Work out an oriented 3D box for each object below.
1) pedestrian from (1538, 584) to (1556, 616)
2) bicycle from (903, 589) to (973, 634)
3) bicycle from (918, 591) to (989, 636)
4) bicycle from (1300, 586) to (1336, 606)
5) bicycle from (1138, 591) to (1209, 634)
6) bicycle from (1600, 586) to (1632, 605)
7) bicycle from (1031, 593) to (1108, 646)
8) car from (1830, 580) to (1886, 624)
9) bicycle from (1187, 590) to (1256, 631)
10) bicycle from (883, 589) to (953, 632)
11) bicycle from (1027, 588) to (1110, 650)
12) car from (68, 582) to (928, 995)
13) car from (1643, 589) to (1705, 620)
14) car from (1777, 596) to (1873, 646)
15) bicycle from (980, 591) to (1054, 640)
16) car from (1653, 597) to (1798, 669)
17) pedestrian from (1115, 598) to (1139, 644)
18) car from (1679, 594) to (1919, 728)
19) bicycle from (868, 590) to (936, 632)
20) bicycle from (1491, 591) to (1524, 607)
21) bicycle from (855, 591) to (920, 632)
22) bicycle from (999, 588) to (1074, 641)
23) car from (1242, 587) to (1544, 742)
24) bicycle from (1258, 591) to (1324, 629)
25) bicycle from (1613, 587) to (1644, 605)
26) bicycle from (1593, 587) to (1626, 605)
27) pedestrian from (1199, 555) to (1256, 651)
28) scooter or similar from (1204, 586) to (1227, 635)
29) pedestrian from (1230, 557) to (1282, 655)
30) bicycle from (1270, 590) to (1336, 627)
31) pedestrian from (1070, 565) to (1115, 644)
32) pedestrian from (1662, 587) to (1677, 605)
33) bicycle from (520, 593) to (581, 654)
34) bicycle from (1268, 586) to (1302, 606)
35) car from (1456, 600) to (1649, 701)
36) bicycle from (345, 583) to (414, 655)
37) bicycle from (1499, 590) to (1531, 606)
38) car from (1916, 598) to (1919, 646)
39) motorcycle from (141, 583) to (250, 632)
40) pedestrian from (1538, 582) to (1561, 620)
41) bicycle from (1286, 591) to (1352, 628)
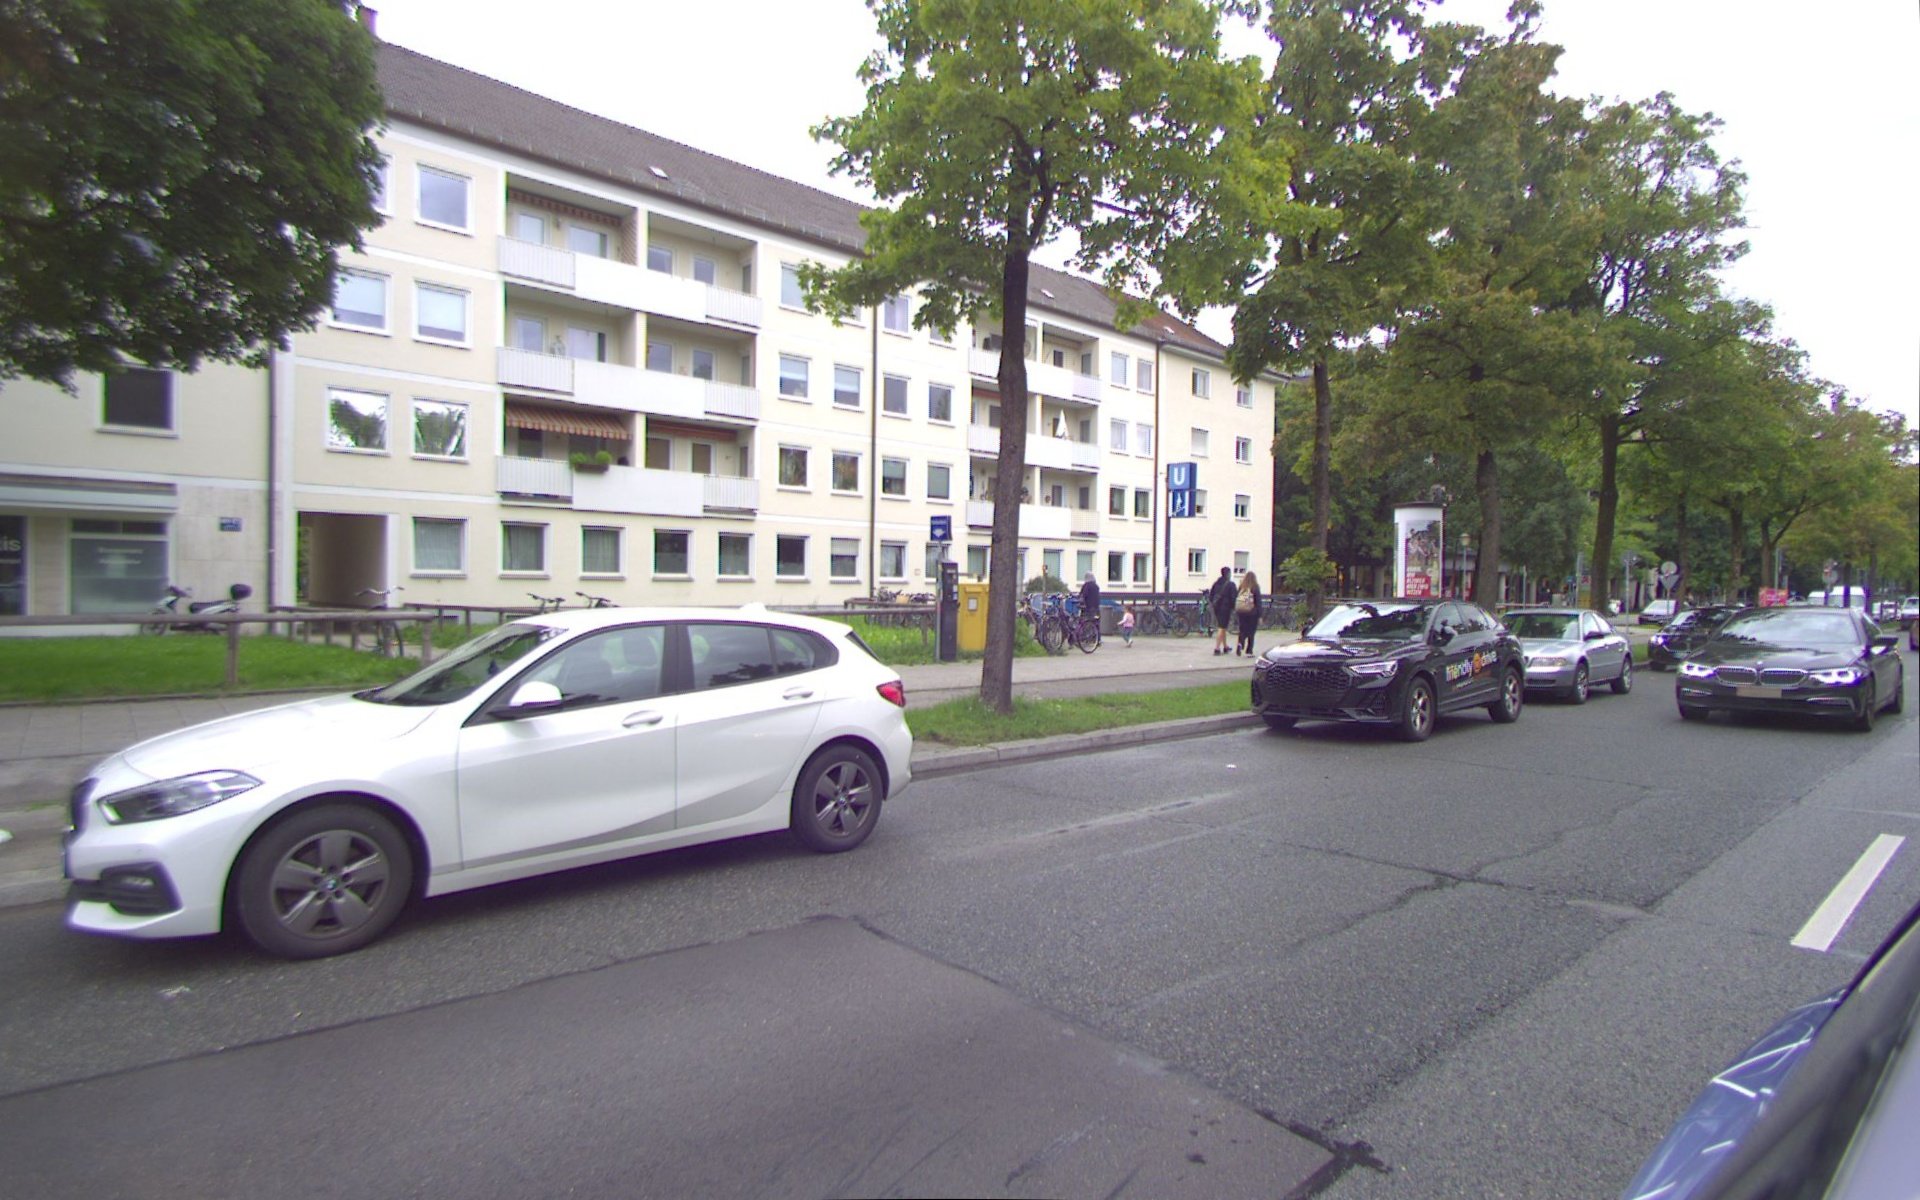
[{"bbox_3d":[33.108,0.002,57.062,0.628,1.752,0.602,0,0,-22],"label":"pedestrian"},{"bbox_3d":[-0.522,0.273,24.782,1.850,1.041,0.432,0,1,-41],"label":"bicycle"},{"bbox_3d":[-0.141,0.328,24.462,1.850,1.041,0.432,0,1,-41],"label":"bicycle"},{"bbox_3d":[18.406,-0.210,52.085,0.448,0.983,1.692,1,1,-44],"label":"bicycle"},{"bbox_3d":[5.530,0.304,26.309,0.425,1.041,1.879,0,2,-44],"label":"bicycle"},{"bbox_3d":[58.738,-0.426,90.653,0.638,1.643,2.312,1,1,-41],"label":"bicycle"},{"bbox_3d":[2.287,0.399,20.977,1.850,1.041,0.432,0,1,-41],"label":"bicycle"},{"bbox_3d":[57.464,0.132,64.713,5.902,2.691,1.976,0,-1,-42],"label":"car"},{"bbox_3d":[7.218,0.284,27.982,0.425,1.041,1.879,0,2,-44],"label":"bicycle"},{"bbox_3d":[-1.034,0.257,25.291,1.850,1.041,0.432,0,1,-41],"label":"bicycle"},{"bbox_3d":[2.126,0.362,19.616,1.850,1.147,0.432,1,1,-41],"label":"bicycle"},{"bbox_3d":[-2.268,0.691,5.655,4.066,1.484,1.684,0,-1,-42],"label":"car"},{"bbox_3d":[40.373,0.258,57.184,4.122,1.654,1.826,0,2,-39],"label":"car"},{"bbox_3d":[27.355,0.636,31.974,4.042,1.484,1.685,0,0,-40],"label":"car"},{"bbox_3d":[1.301,0.341,22.678,1.850,1.041,0.432,0,1,-41],"label":"bicycle"},{"bbox_3d":[17.247,0.676,22.742,4.102,1.484,1.754,0,0,-40],"label":"car"},{"bbox_3d":[3.650,0.451,22.115,0.404,0.961,0.432,1,1,22],"label":"pedestrian"},{"bbox_3d":[11.176,0.677,13.287,4.586,1.461,1.798,0,-1,-41],"label":"car"},{"bbox_3d":[-1.477,0.283,26.140,1.850,1.041,0.432,0,1,-41],"label":"bicycle"},{"bbox_3d":[39.983,-0.095,73.880,0.447,1.134,2.079,1,1,-41],"label":"bicycle"},{"bbox_3d":[-1.940,0.306,27.271,1.850,1.041,0.432,0,1,-41],"label":"bicycle"},{"bbox_3d":[1.687,0.307,22.080,1.850,1.115,0.432,0,1,-41],"label":"bicycle"},{"bbox_3d":[5.317,0.647,12.166,4.201,1.552,1.719,0,0,-41],"label":"car"},{"bbox_3d":[9.905,0.274,30.363,0.425,1.041,1.879,0,2,-44],"label":"bicycle"},{"bbox_3d":[62.051,-0.360,93.966,2.298,1.643,0.642,1,1,33],"label":"bicycle"},{"bbox_3d":[57.279,-0.366,89.276,0.638,1.551,2.312,1,1,-41],"label":"bicycle"},{"bbox_3d":[5.475,0.052,20.715,0.904,1.913,0.730,0,2,-42],"label":"pedestrian"},{"bbox_3d":[6.669,0.258,26.426,0.352,1.215,1.388,1,2,6],"label":"scooter or similar"},{"bbox_3d":[5.917,0.102,20.210,0.887,1.913,0.589,0,1,-42],"label":"pedestrian"},{"bbox_3d":[10.484,0.237,30.993,1.877,1.041,0.426,3,2,44],"label":"bicycle"},{"bbox_3d":[2.904,0.081,22.308,0.825,1.702,0.835,1,1,-2],"label":"pedestrian"},{"bbox_3d":[68.767,-0.388,98.056,0.755,1.719,0.875,0,2,-27],"label":"pedestrian"},{"bbox_3d":[-6.960,0.376,17.150,0.425,0.986,1.881,0,0,-39],"label":"bicycle"},{"bbox_3d":[17.143,-0.227,53.346,0.448,0.983,1.692,1,1,-44],"label":"bicycle"},{"bbox_3d":[9.569,0.713,16.197,4.174,1.403,1.637,0,0,-44],"label":"car"},{"bbox_3d":[-8.179,0.243,14.219,0.548,0.951,1.881,0,0,-39],"label":"bicycle"},{"bbox_3d":[41.386,-0.135,75.518,0.447,1.134,2.079,1,1,-41],"label":"bicycle"},{"bbox_3d":[31.333,0.653,31.452,4.586,1.461,1.887,0,-1,-41],"label":"car"},{"bbox_3d":[-16.749,0.155,22.197,1.873,1.036,0.605,0,0,-41],"label":"motorcycle"},{"bbox_3d":[28.316,0.034,48.606,0.835,1.771,0.640,1,2,-43],"label":"pedestrian"},{"bbox_3d":[11.044,0.271,31.183,1.876,1.041,0.426,3,2,42],"label":"bicycle"}]
